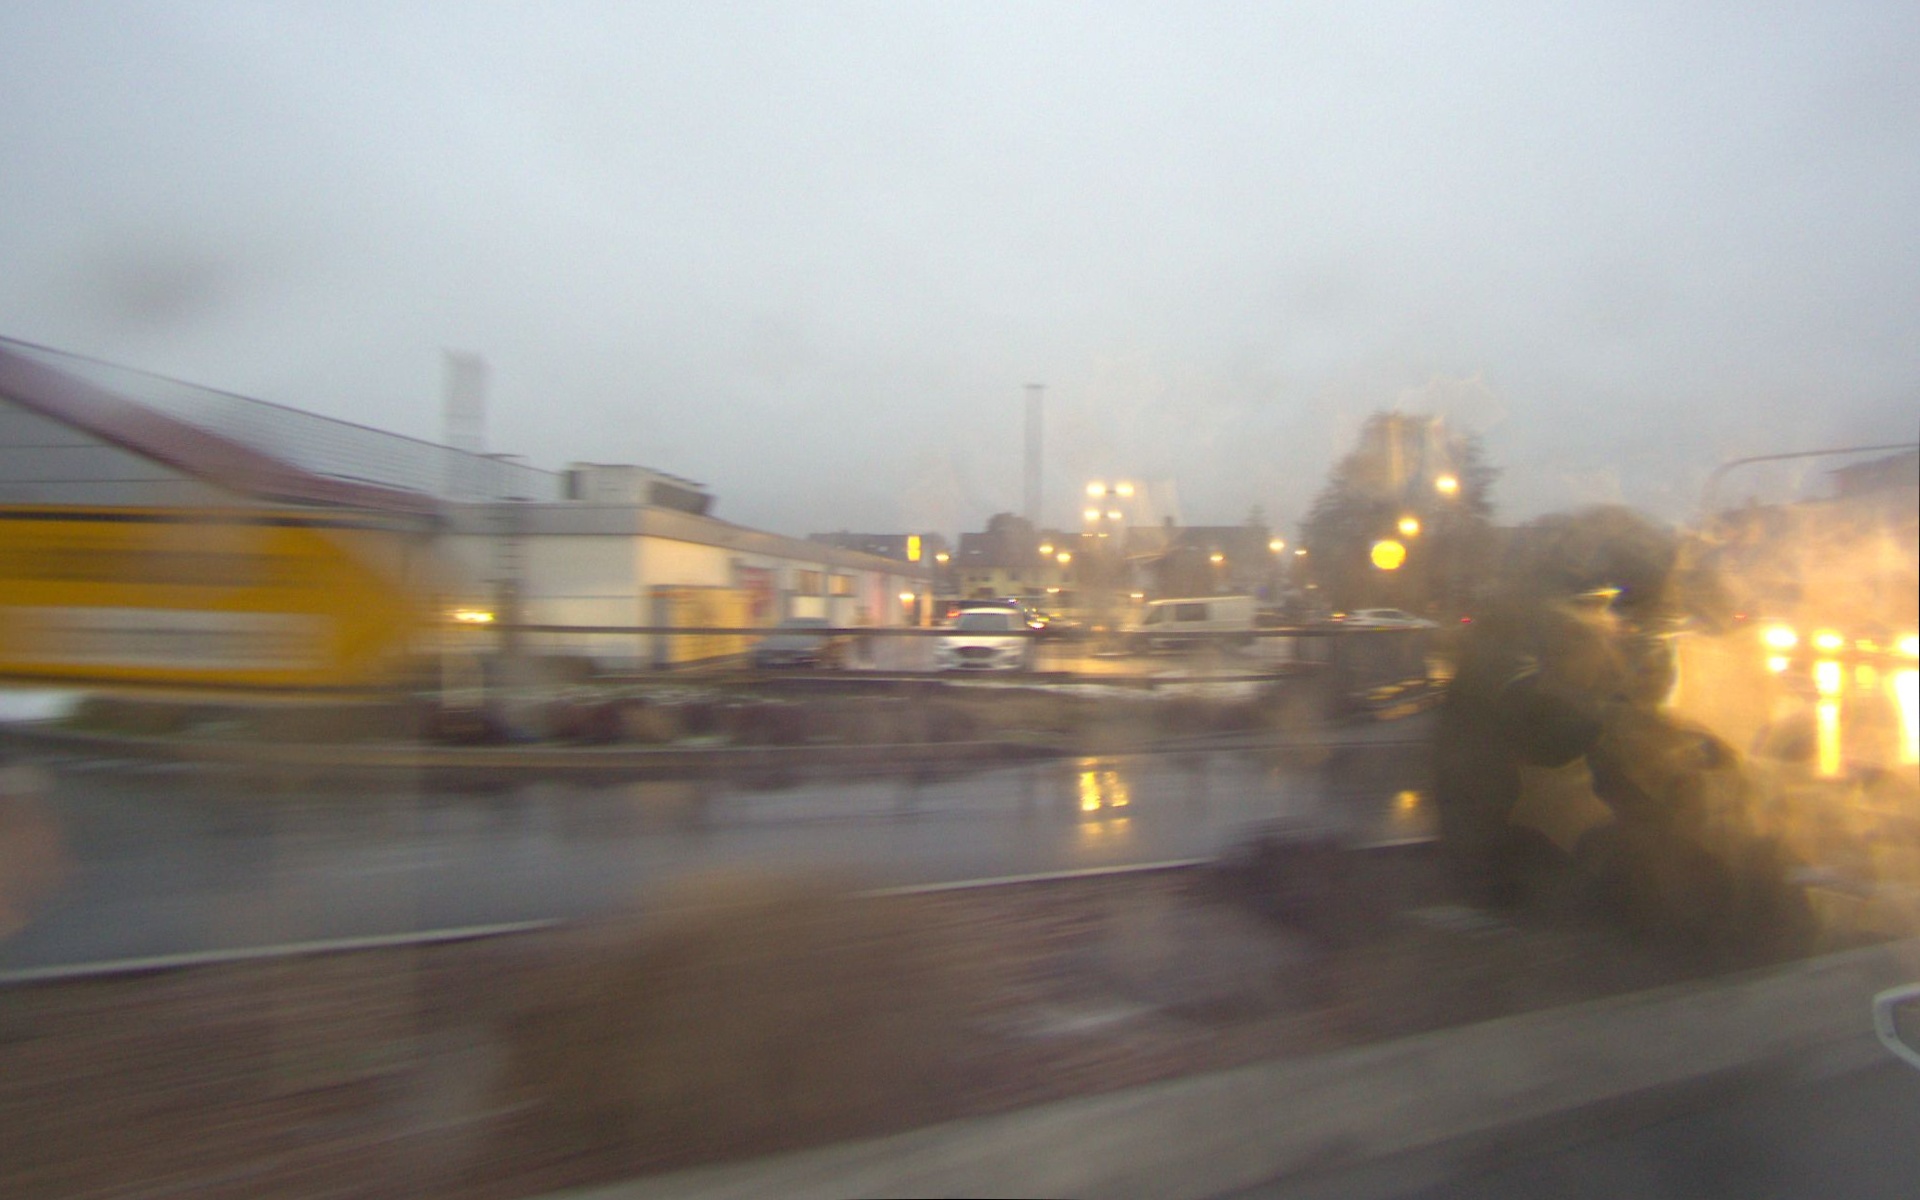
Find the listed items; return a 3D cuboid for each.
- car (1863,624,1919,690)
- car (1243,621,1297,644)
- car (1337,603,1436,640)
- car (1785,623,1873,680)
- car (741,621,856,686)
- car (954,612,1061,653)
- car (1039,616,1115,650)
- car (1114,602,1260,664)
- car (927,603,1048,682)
[{"bbox_3d":[33.731,1.962,35.343,2.133,2.088,4.559,1,1,32],"label":"car"},{"bbox_3d":[24.060,2.501,78.033,3.831,1.630,1.639,0,1,11],"label":"car"},{"bbox_3d":[21.315,1.049,50.359,4.267,1.771,1.707,0,1,9],"label":"car"},{"bbox_3d":[35.718,2.051,41.400,2.134,2.088,4.558,1,1,33],"label":"car"},{"bbox_3d":[-4.058,1.322,25.881,1.804,1.329,4.002,2,1,8],"label":"car"},{"bbox_3d":[2.332,1.560,48.985,4.949,1.688,1.797,2,1,10],"label":"car"},{"bbox_3d":[6.060,1.709,52.195,3.773,1.561,1.729,2,1,5],"label":"car"},{"bbox_3d":[8.878,1.264,39.646,5.314,2.162,2.034,2,1,4],"label":"car"},{"bbox_3d":[0.769,0.931,24.094,2.023,1.582,4.283,2,1,13],"label":"car"}]
